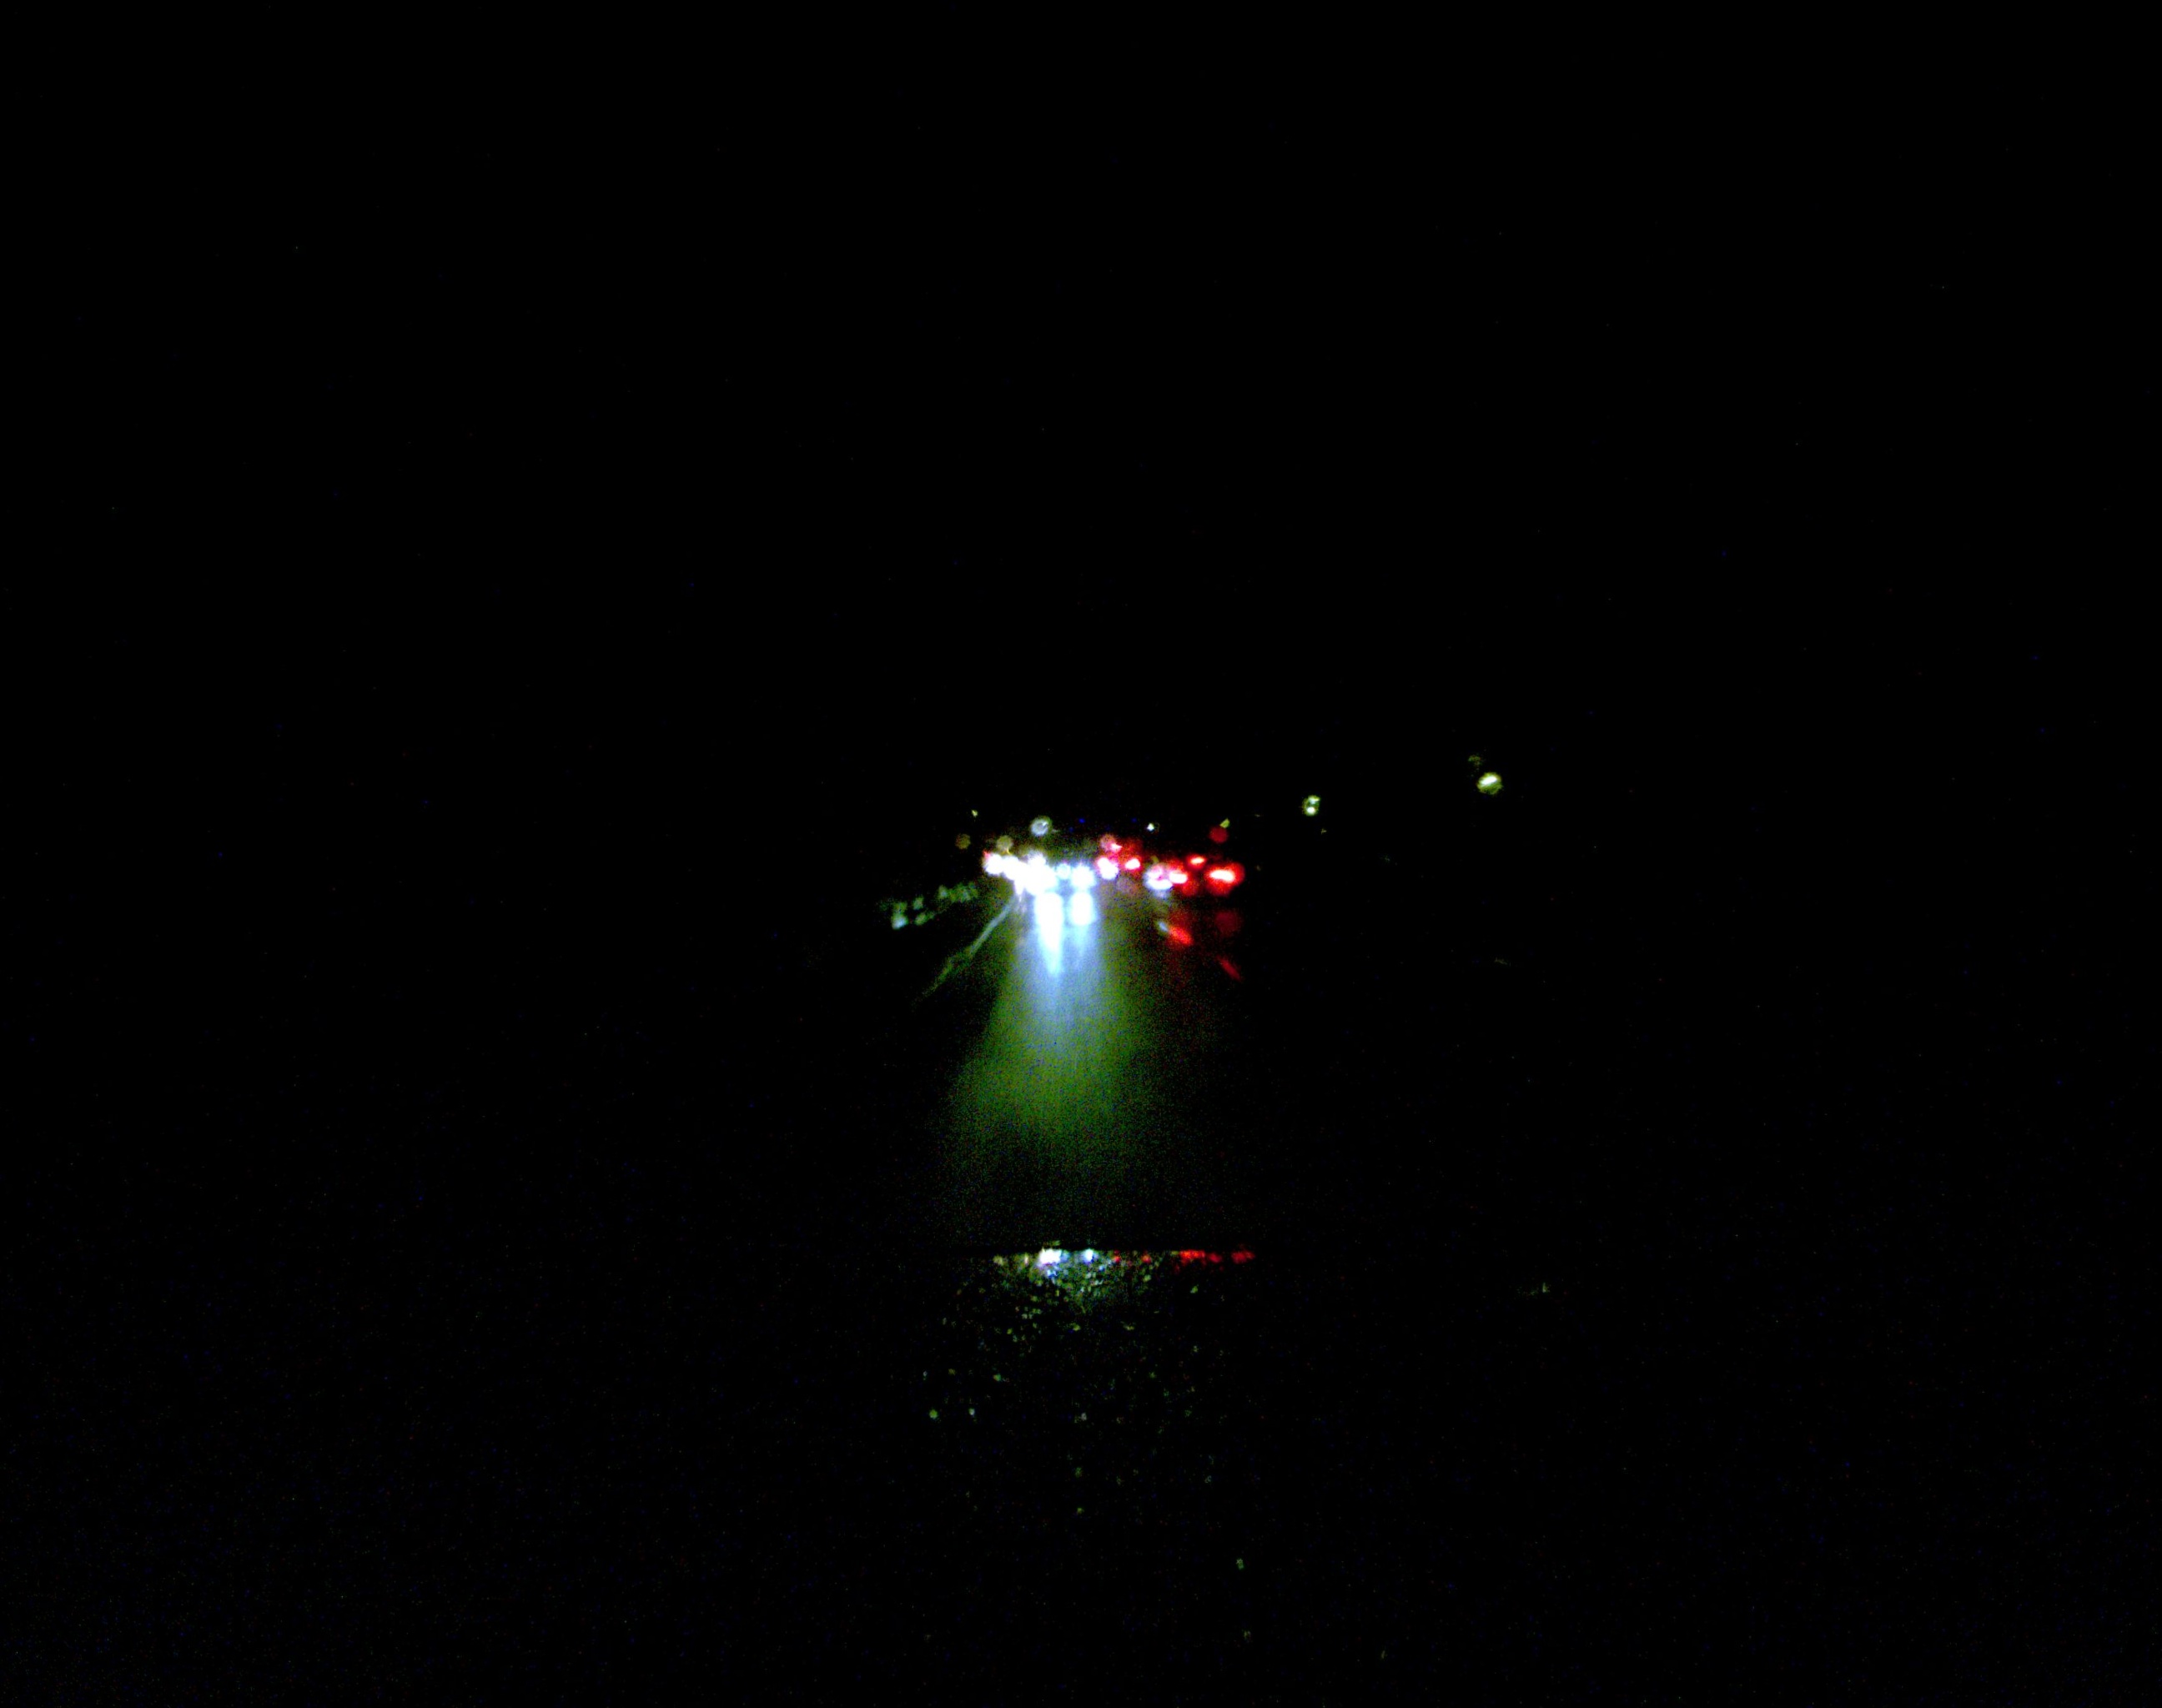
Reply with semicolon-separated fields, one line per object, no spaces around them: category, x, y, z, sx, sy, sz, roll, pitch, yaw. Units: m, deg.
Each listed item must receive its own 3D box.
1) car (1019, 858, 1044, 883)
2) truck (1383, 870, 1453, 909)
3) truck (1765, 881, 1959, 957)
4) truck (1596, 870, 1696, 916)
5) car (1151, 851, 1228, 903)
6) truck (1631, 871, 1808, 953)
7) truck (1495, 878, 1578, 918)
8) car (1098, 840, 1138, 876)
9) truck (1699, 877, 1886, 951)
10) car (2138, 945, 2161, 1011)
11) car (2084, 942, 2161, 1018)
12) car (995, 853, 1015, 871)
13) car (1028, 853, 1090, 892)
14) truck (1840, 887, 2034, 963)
car;-4.296;1.388;65.115;1.900;2.002;3.997;-1;1;-7
truck;26.166;2.696;59.318;2.173;2.504;6.869;4;1;0
truck;41.962;3.341;41.243;2.443;3.241;7.044;4;1;-9
truck;44.054;2.970;59.546;2.175;3.028;6.690;4;1;-6
car;3.266;0.648;23.615;1.595;1.372;4.323;-2;1;-2
truck;32.994;2.842;39.732;2.474;3.460;7.045;4;1;-8
truck;35.464;3.355;59.529;2.173;2.504;6.869;4;1;0
car;2.217;0.238;46.539;1.896;1.991;4.879;-2;0;-3
truck;37.370;3.047;40.359;2.443;3.080;7.044;4;1;-9
car;33.899;3.787;21.836;1.723;1.895;3.719;-1;0;-12
car;31.265;3.631;21.111;1.723;1.895;3.719;-1;0;-12
car;-8.090;0.829;80.992;1.710;1.762;3.995;-2;1;-11
car;-1.092;0.785;34.779;2.001;1.584;4.603;0;1;-12
truck;46.359;3.727;41.492;2.443;3.241;6.560;4;1;-9
